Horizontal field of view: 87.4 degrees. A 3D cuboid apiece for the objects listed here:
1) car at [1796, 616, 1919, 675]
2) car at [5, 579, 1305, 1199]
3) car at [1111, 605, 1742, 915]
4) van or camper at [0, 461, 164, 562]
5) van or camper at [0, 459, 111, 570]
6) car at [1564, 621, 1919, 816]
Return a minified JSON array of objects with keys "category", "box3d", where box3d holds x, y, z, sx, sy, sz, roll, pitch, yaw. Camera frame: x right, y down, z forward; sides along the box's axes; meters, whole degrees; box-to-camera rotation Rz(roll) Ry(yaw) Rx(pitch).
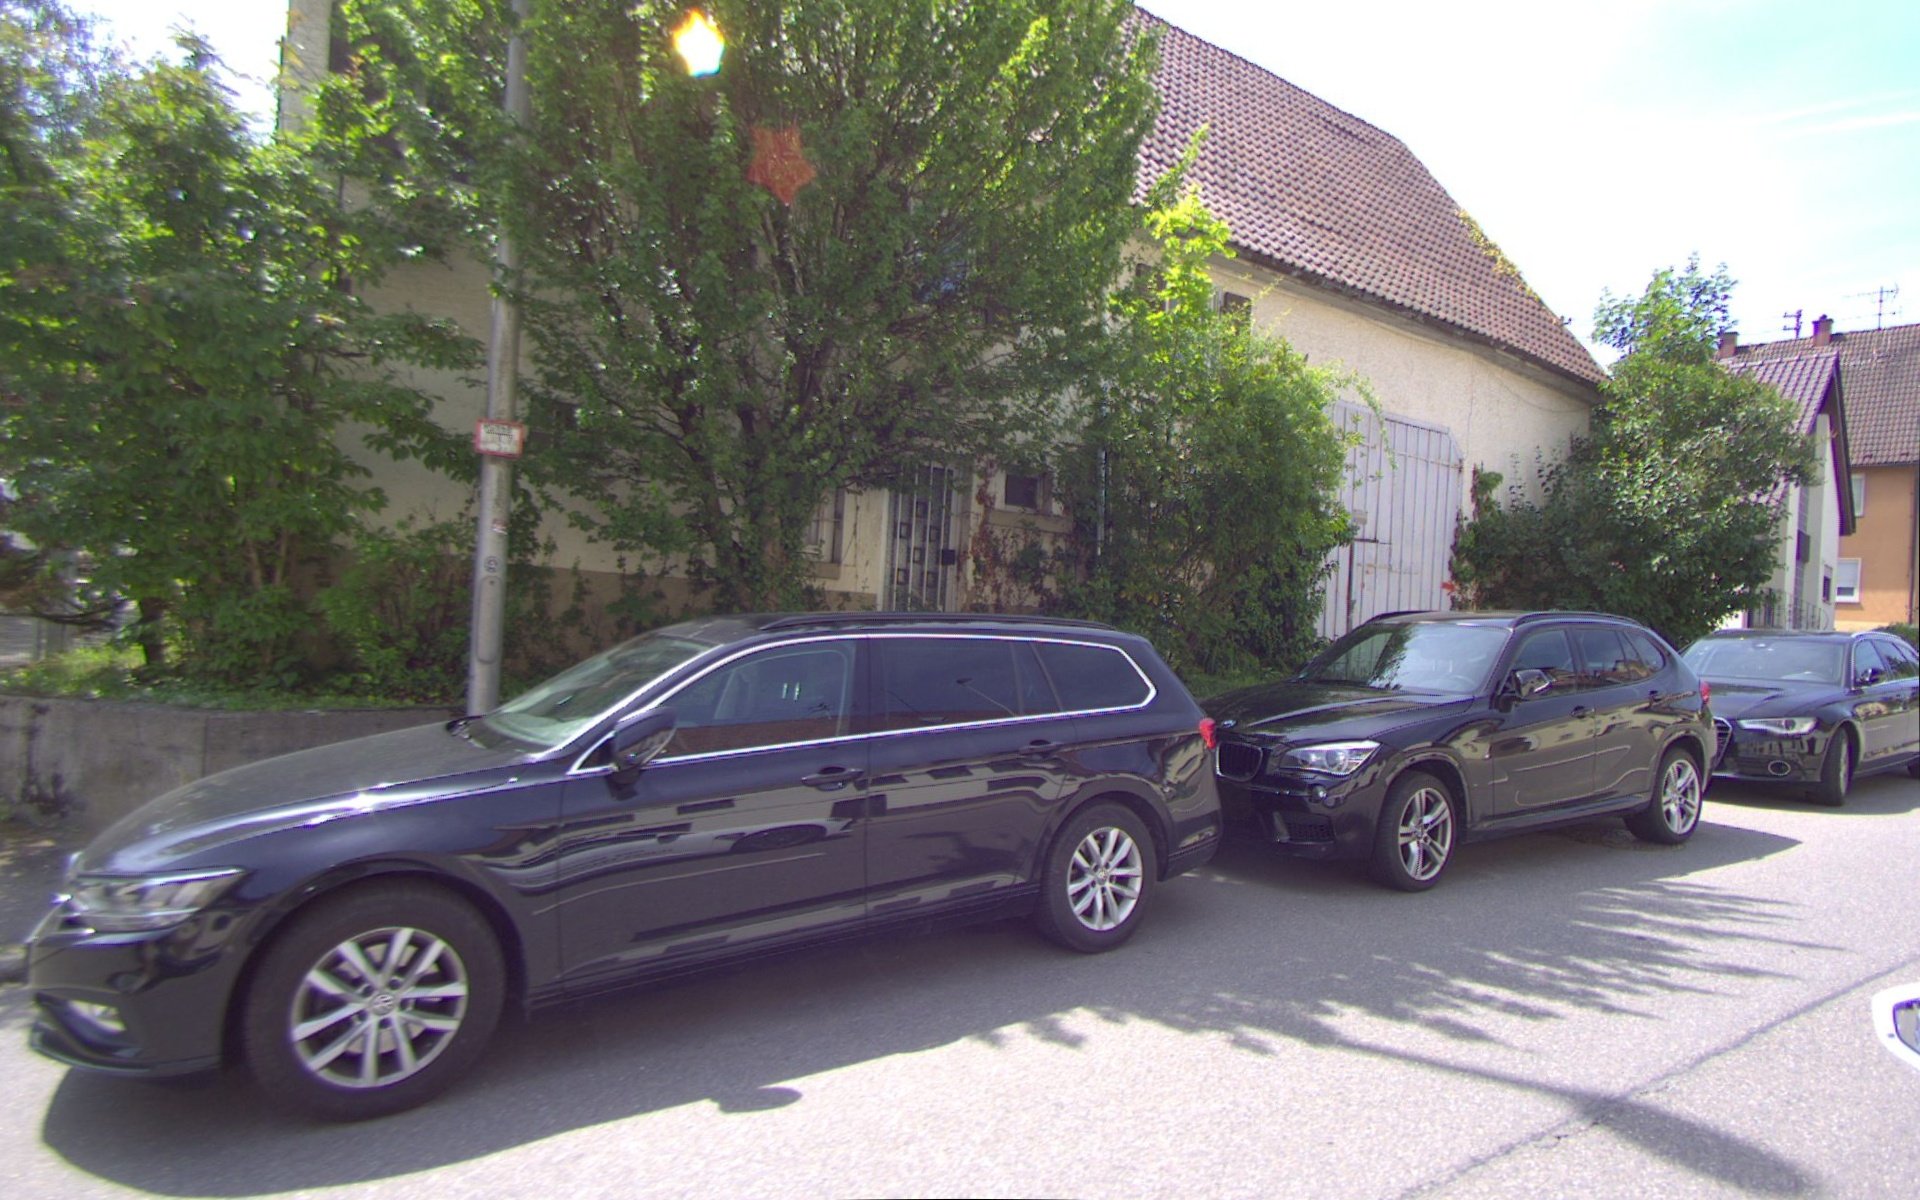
[{"category":"car","box3d":[27.357,1.378,29.344,1.807,1.424,4.192,2,4,-40]},{"category":"car","box3d":[-0.756,0.763,4.411,4.660,1.483,1.779,2,-1,-32]},{"category":"car","box3d":[3.262,0.840,6.835,4.248,1.541,1.747,1,0,-29]},{"category":"van or camper","box3d":[-20.886,-1.979,22.429,4.772,2.041,1.979,1,2,-37]},{"category":"van or camper","box3d":[-19.222,-1.681,19.353,3.946,2.041,1.987,2,1,-25]},{"category":"car","box3d":[8.088,0.988,9.907,4.725,1.493,1.808,1,-1,-33]}]
